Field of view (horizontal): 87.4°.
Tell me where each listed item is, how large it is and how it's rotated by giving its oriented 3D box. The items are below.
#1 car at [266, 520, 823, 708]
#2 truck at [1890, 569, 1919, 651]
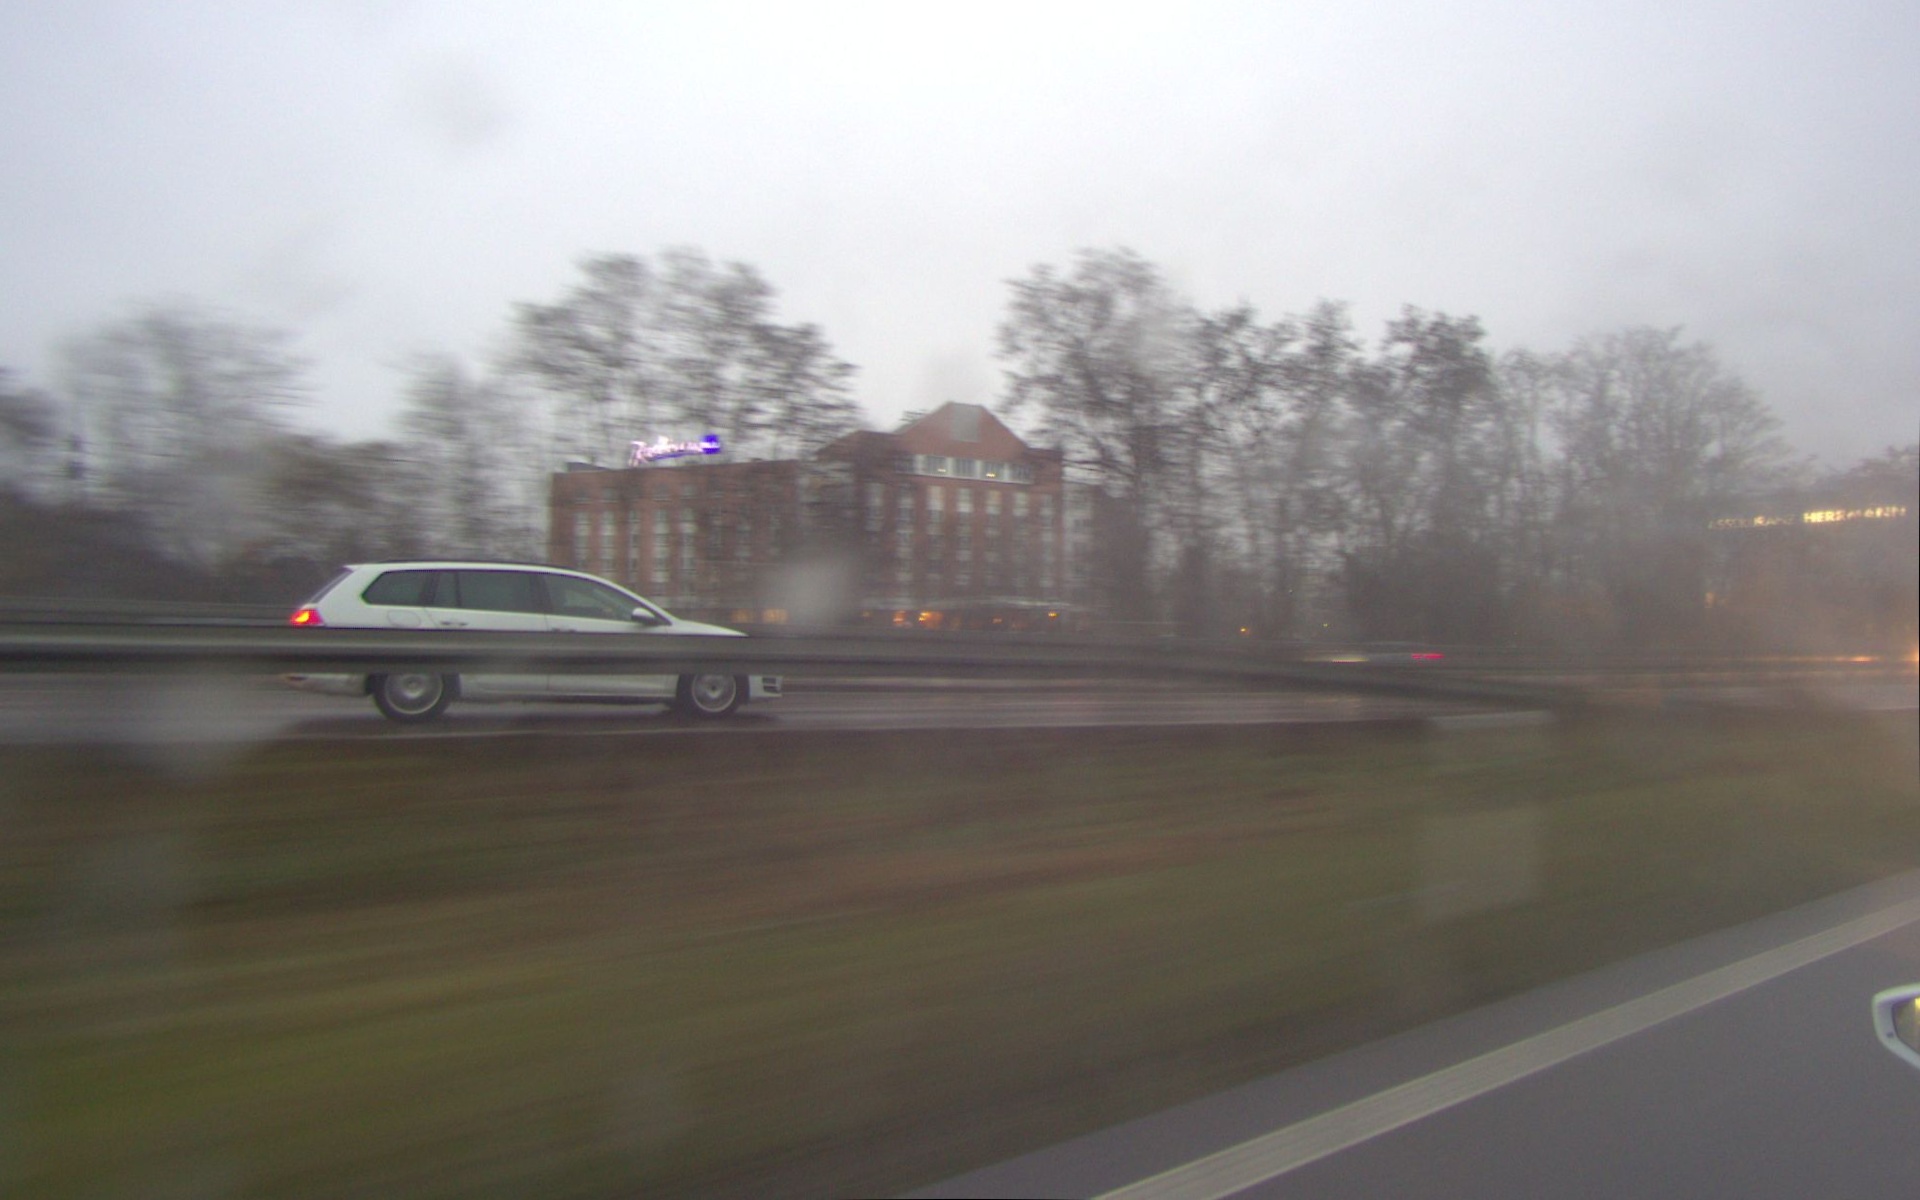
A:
[{"bbox_3d":[-3.929,0.192,10.122,4.722,1.540,1.942,1,-3,-25],"label":"car"},{"bbox_3d":[60.422,0.657,61.162,5.947,4.912,3.480,1,0,-24],"label":"truck"}]
